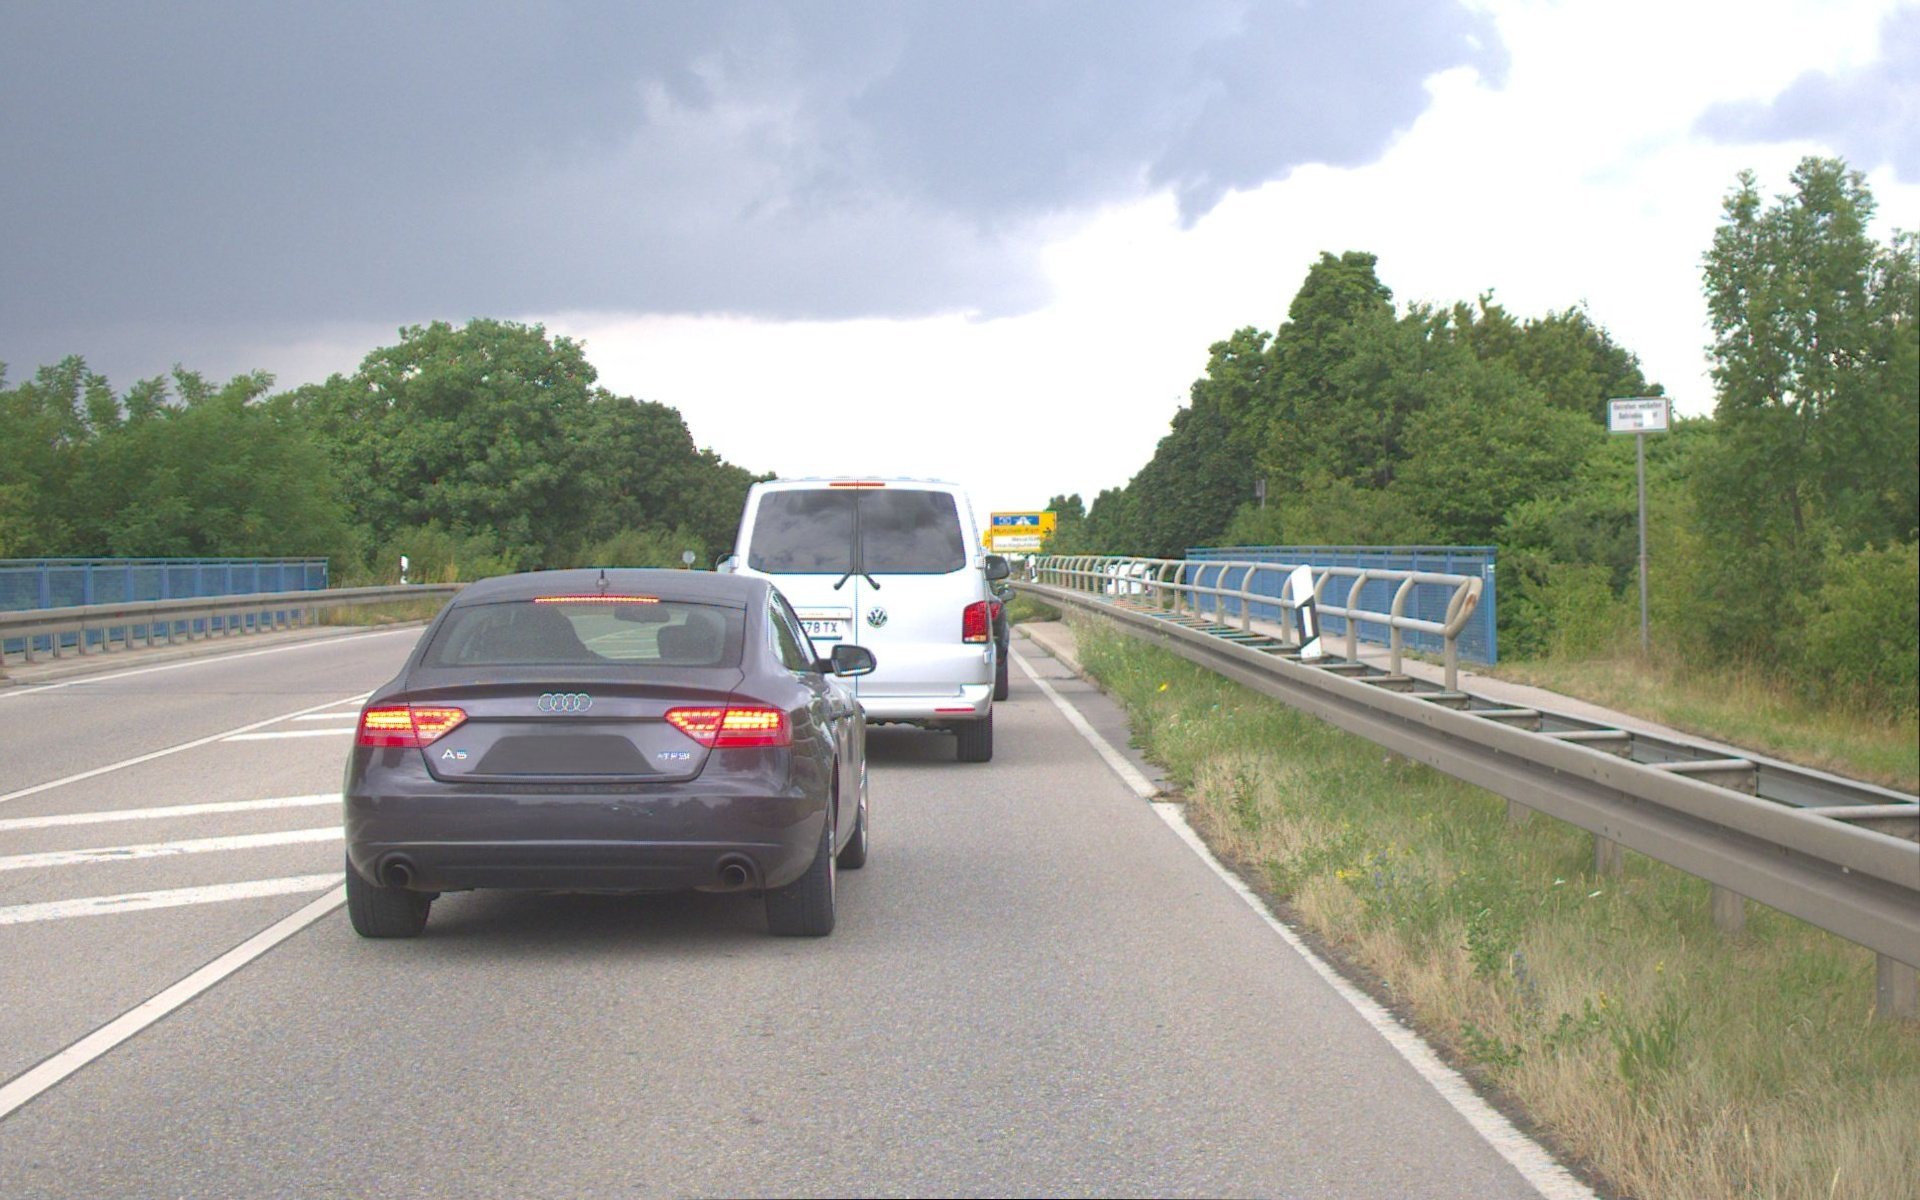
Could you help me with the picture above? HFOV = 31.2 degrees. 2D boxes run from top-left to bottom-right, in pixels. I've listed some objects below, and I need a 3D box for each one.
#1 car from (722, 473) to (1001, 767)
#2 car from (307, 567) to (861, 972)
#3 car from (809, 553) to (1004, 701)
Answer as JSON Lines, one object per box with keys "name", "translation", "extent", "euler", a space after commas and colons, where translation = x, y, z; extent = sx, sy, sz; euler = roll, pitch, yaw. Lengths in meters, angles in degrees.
{"name": "car", "translation": [-0.677, 0.106, 24.744], "extent": [1.828, 1.929, 4.000], "euler": [-1, 1, -1]}
{"name": "car", "translation": [-1.365, 0.570, 13.992], "extent": [1.821, 1.376, 4.072], "euler": [-1, 1, 0]}
{"name": "car", "translation": [-0.481, 0.229, 34.140], "extent": [1.821, 1.376, 4.072], "euler": [0, 1, 0]}
